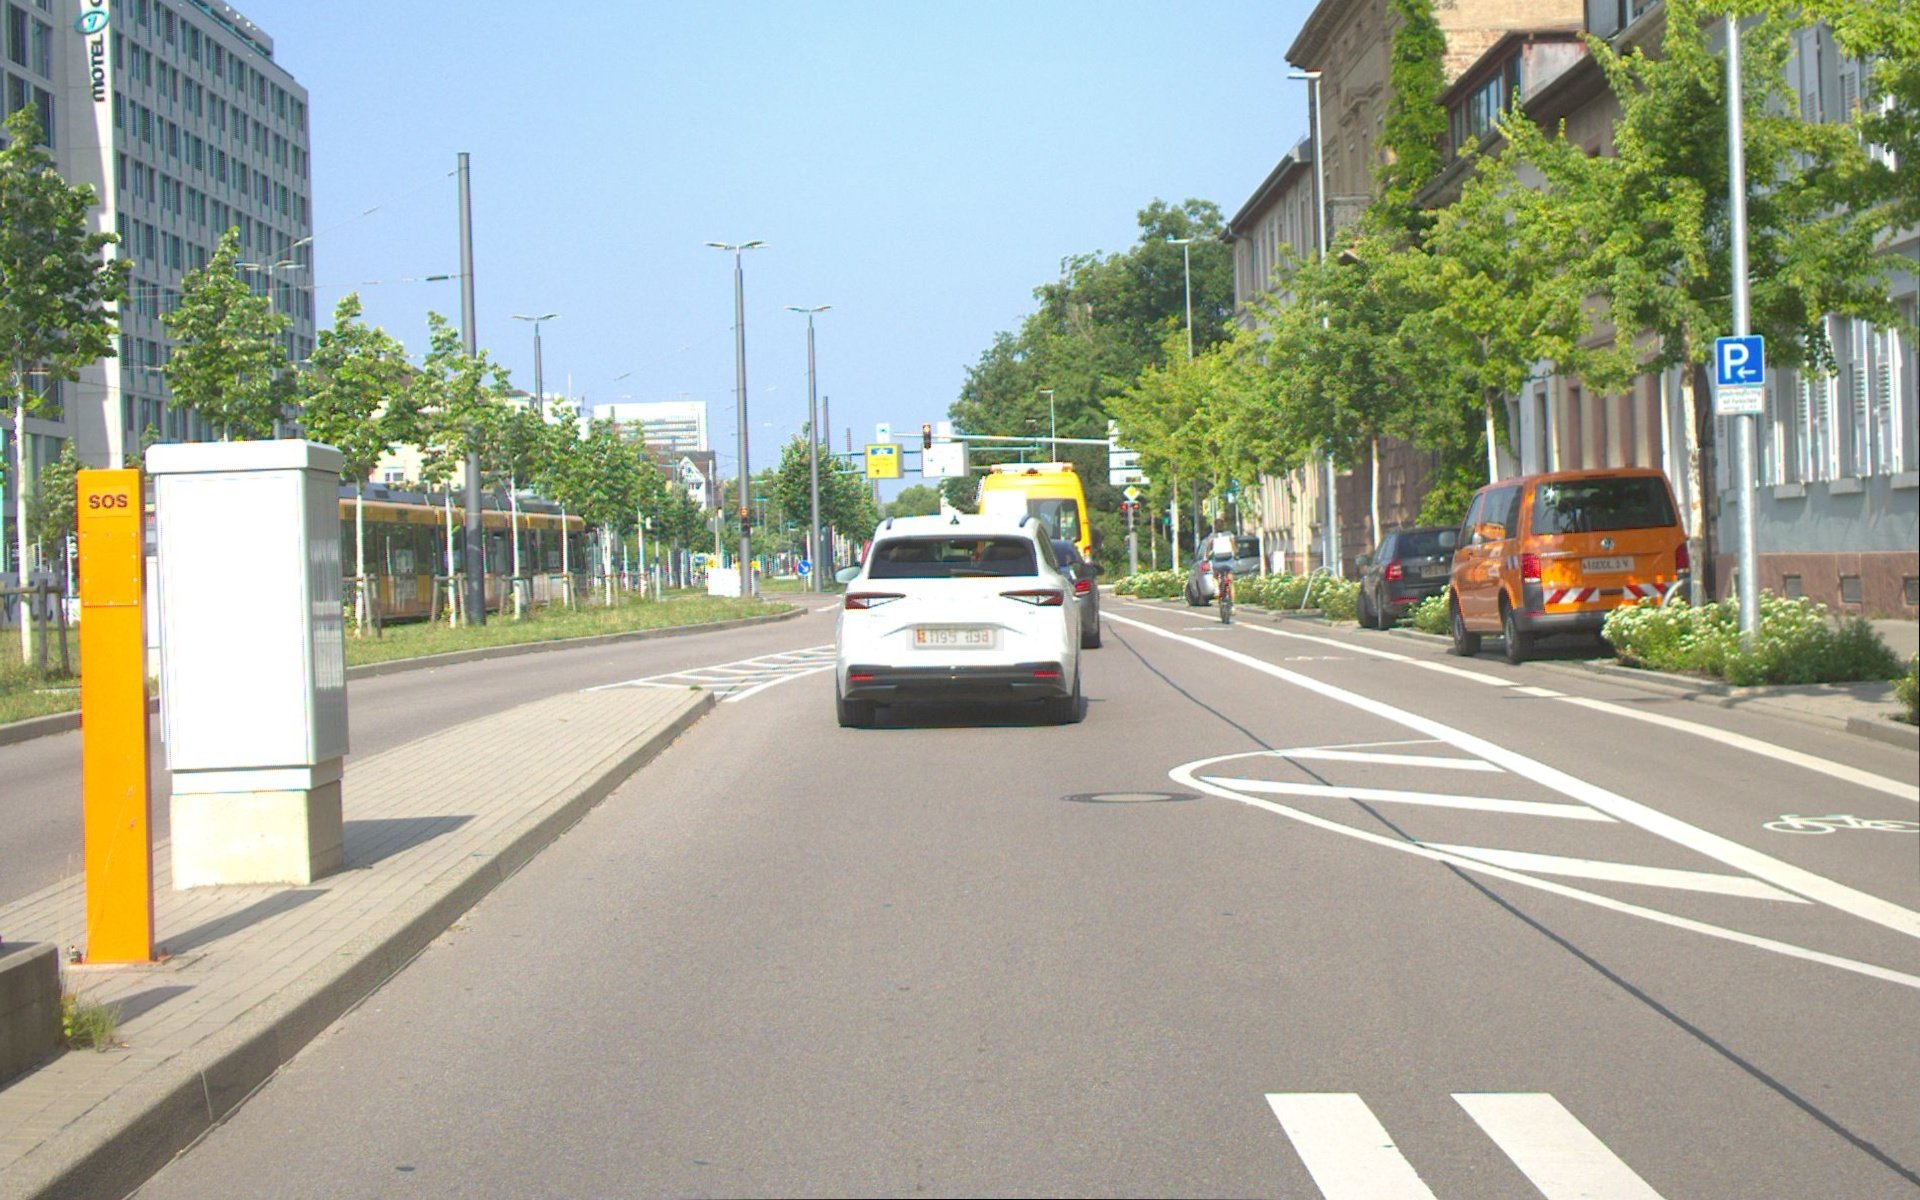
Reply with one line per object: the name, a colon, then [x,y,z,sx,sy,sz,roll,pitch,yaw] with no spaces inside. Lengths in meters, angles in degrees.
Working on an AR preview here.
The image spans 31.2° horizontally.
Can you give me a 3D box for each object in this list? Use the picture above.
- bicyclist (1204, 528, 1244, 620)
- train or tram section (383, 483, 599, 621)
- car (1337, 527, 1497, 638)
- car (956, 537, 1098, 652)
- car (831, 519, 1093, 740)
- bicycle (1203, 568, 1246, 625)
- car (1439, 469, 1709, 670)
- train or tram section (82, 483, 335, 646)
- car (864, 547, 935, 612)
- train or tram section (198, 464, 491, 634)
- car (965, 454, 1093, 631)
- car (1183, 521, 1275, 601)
bicyclist: [4.539,-0.451,59.163,0.639,1.571,0.771,-1,1,2]
train or tram section: [-13.551,-1.369,101.410,2.906,3.694,18.288,0,1,3]
car: [6.652,-0.262,50.390,1.673,1.478,4.312,-3,0,0]
car: [0.850,-0.110,45.074,1.760,1.431,4.115,0,1,0]
car: [0.023,0.182,27.044,1.870,1.569,4.000,-1,1,0]
bicycle: [4.537,-0.067,59.047,0.655,0.935,1.517,-1,1,2]
car: [6.628,-0.371,37.627,2.063,2.007,4.588,-1,1,0]
train or tram section: [-17.910,-0.902,83.218,2.860,3.524,14.899,-1,1,0]
car: [-1.757,-0.624,101.012,1.930,1.815,4.000,-1,1,1]
train or tram section: [-14.524,-1.194,83.215,2.906,3.663,18.135,0,1,3]
car: [1.140,-1.049,58.783,2.020,2.786,5.401,-1,3,0]
car: [6.293,-0.928,80.847,1.812,1.806,3.836,-1,1,0]
